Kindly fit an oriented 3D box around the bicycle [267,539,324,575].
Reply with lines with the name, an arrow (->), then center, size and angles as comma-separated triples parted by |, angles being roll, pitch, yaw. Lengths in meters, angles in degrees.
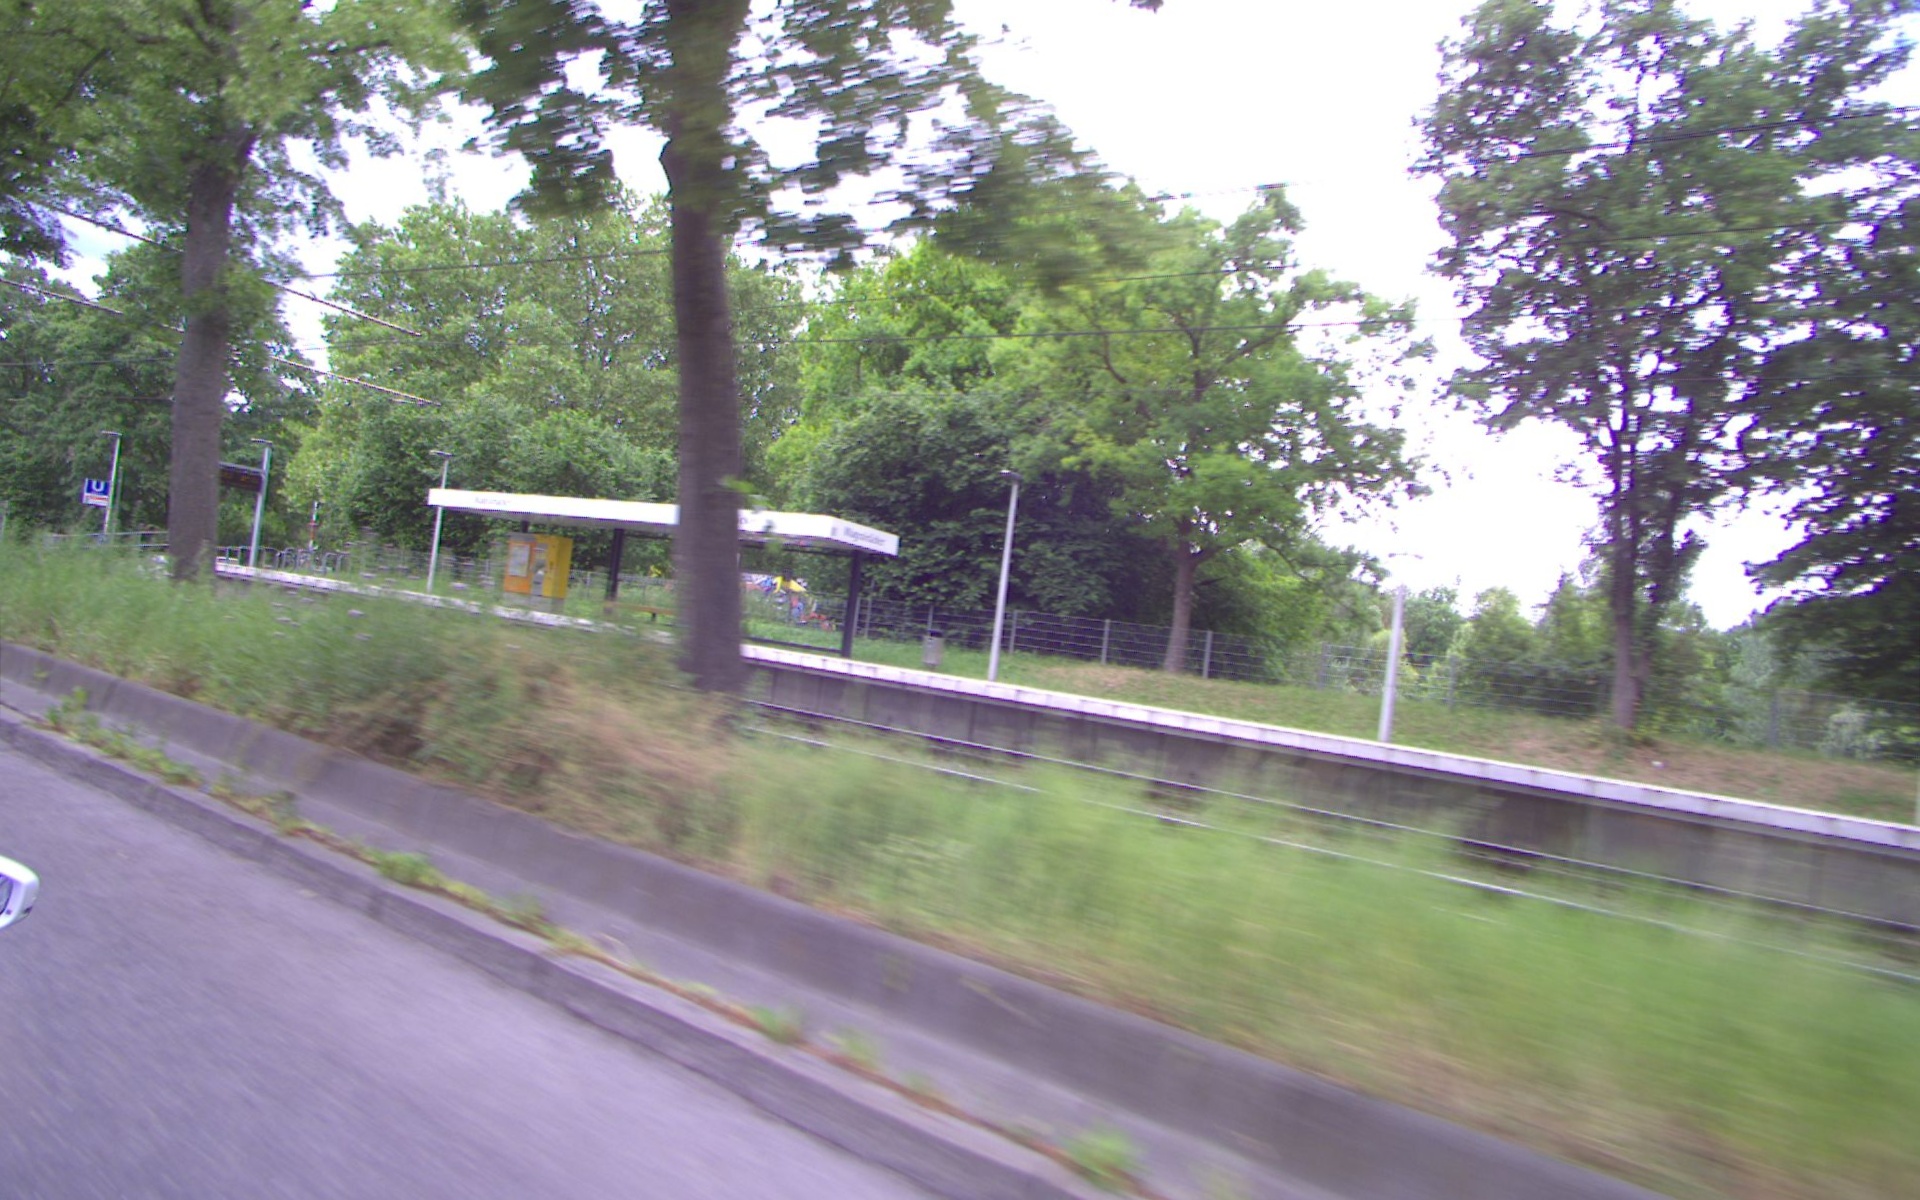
bicycle -> -23.122, -1.476, 35.033 | 0.442, 0.984, 1.514 | 7, -3, 26
